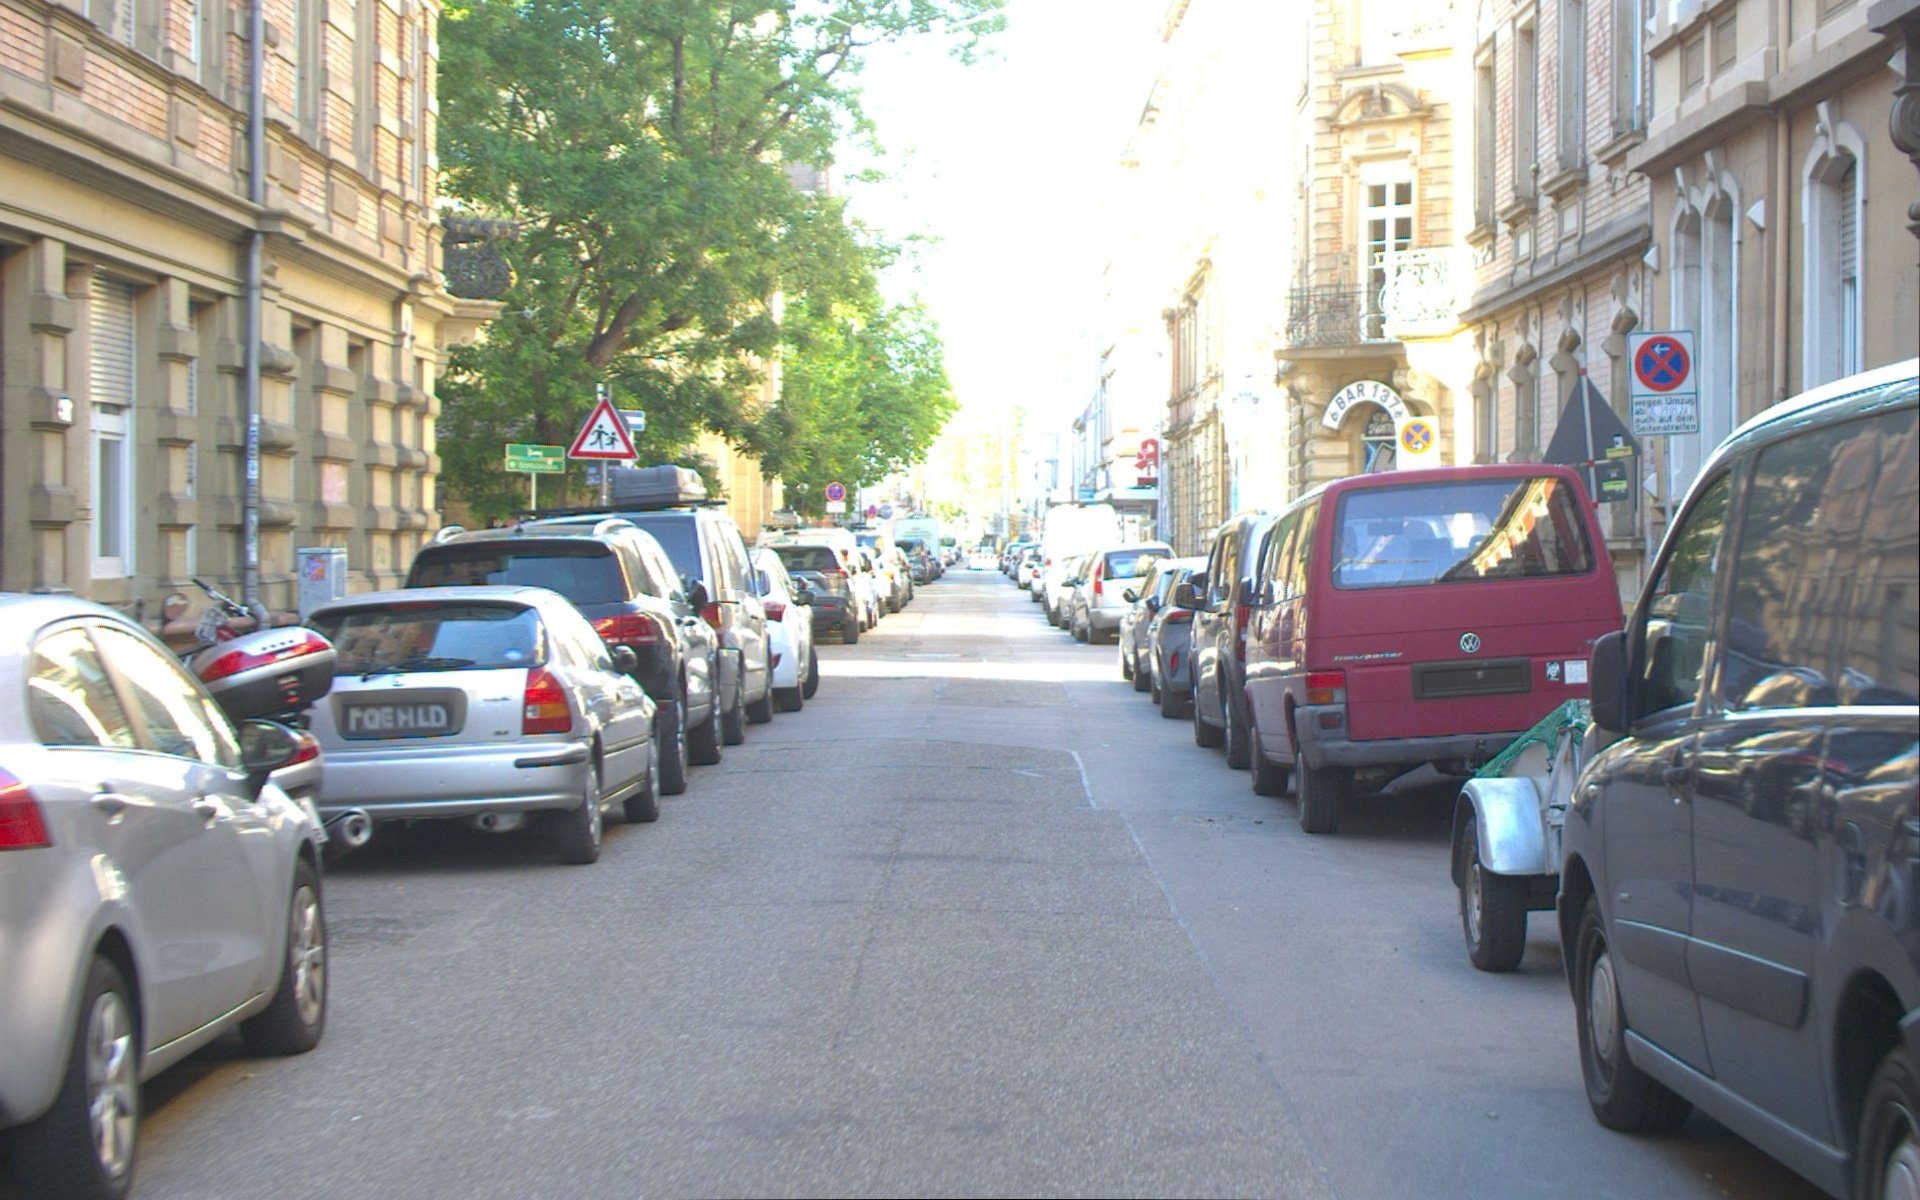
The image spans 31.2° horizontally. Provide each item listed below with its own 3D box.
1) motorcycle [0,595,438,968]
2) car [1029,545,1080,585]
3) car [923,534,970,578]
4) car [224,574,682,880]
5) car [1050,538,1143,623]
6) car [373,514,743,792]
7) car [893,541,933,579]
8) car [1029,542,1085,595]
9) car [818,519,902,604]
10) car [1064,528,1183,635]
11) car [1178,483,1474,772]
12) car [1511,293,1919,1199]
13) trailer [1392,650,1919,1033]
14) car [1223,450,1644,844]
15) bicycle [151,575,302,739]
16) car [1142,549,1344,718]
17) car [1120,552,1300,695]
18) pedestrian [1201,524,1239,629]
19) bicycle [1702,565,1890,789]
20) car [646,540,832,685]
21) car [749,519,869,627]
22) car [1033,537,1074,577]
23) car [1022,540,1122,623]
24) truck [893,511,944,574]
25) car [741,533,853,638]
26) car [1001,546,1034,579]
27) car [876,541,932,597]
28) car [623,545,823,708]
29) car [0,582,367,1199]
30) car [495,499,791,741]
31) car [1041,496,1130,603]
[{"bbox_3d":[-3.105,0.693,13.921,0.842,1.355,2.196,-3,1,-42],"label":"motorcycle"},{"bbox_3d":[3.620,-1.346,131.579,1.897,1.483,3.869,0,1,1],"label":"car"},{"bbox_3d":[-0.545,-1.835,143.066,1.875,1.790,4.000,0,1,1],"label":"car"},{"bbox_3d":[-2.522,0.575,17.986,1.698,1.309,4.000,3,1,1],"label":"car"},{"bbox_3d":[2.839,-0.416,72.404,1.808,1.684,4.214,2,0,1],"label":"car"},{"bbox_3d":[-2.560,0.282,22.942,1.788,1.619,4.608,2,1,1],"label":"car"},{"bbox_3d":[-2.277,-1.916,165.272,1.875,1.790,4.000,0,1,-2],"label":"car"},{"bbox_3d":[2.911,-0.959,102.695,1.604,1.499,4.000,1,1,2],"label":"car"},{"bbox_3d":[-2.397,-0.938,83.160,1.864,1.950,4.610,-1,1,0],"label":"car"},{"bbox_3d":[2.711,-0.331,57.668,1.703,1.708,3.938,-1,1,-1],"label":"car"},{"bbox_3d":[2.674,0.151,25.980,1.769,1.954,4.264,2,1,1],"label":"car"},{"bbox_3d":[2.501,0.480,7.335,1.845,1.977,4.576,2,1,0],"label":"car"},{"bbox_3d":[2.644,0.837,13.027,1.504,1.109,3.039,3,1,-1],"label":"trailer"},{"bbox_3d":[2.657,0.202,20.346,1.832,2.007,4.742,2,1,1],"label":"car"},{"bbox_3d":[-5.454,0.406,25.649,0.667,1.121,1.785,3,1,1],"label":"bicycle"},{"bbox_3d":[2.666,0.273,33.038,1.666,1.474,3.888,0,1,1],"label":"car"},{"bbox_3d":[2.743,0.213,38.513,1.706,1.454,4.511,2,1,1],"label":"car"},{"bbox_3d":[4.342,-0.398,57.348,0.574,1.727,0.663,-1,1,8],"label":"pedestrian"},{"bbox_3d":[5.219,0.454,21.549,0.727,1.299,1.692,-3,1,1],"label":"bicycle"},{"bbox_3d":[-2.399,0.102,38.225,1.722,1.476,4.089,2,1,1],"label":"car"},{"bbox_3d":[-2.660,-0.515,61.512,1.845,1.856,4.465,0,1,1],"label":"car"},{"bbox_3d":[4.127,-1.920,152.112,1.769,1.735,4.000,0,1,1],"label":"car"},{"bbox_3d":[2.190,-0.388,68.160,1.572,1.520,3.909,2,1,-3],"label":"car"},{"bbox_3d":[-2.161,-3.053,181.853,2.532,3.270,6.994,0,1,1],"label":"truck"},{"bbox_3d":[-2.618,-0.270,56.025,1.740,1.641,4.289,0,1,-2],"label":"car"},{"bbox_3d":[3.467,-2.276,207.857,1.993,2.007,4.000,0,1,1],"label":"car"},{"bbox_3d":[-1.687,-0.949,104.259,1.600,1.608,3.808,-2,1,0],"label":"car"},{"bbox_3d":[-2.207,0.209,32.820,1.674,1.416,3.875,2,1,-1],"label":"car"},{"bbox_3d":[-2.768,0.703,9.166,1.674,1.414,4.000,-1,1,0],"label":"car"},{"bbox_3d":[-2.516,0.113,28.353,1.893,1.778,4.608,2,1,1],"label":"car"},{"bbox_3d":[3.136,-1.294,86.998,2.068,2.602,5.888,1,1,1],"label":"car"}]
